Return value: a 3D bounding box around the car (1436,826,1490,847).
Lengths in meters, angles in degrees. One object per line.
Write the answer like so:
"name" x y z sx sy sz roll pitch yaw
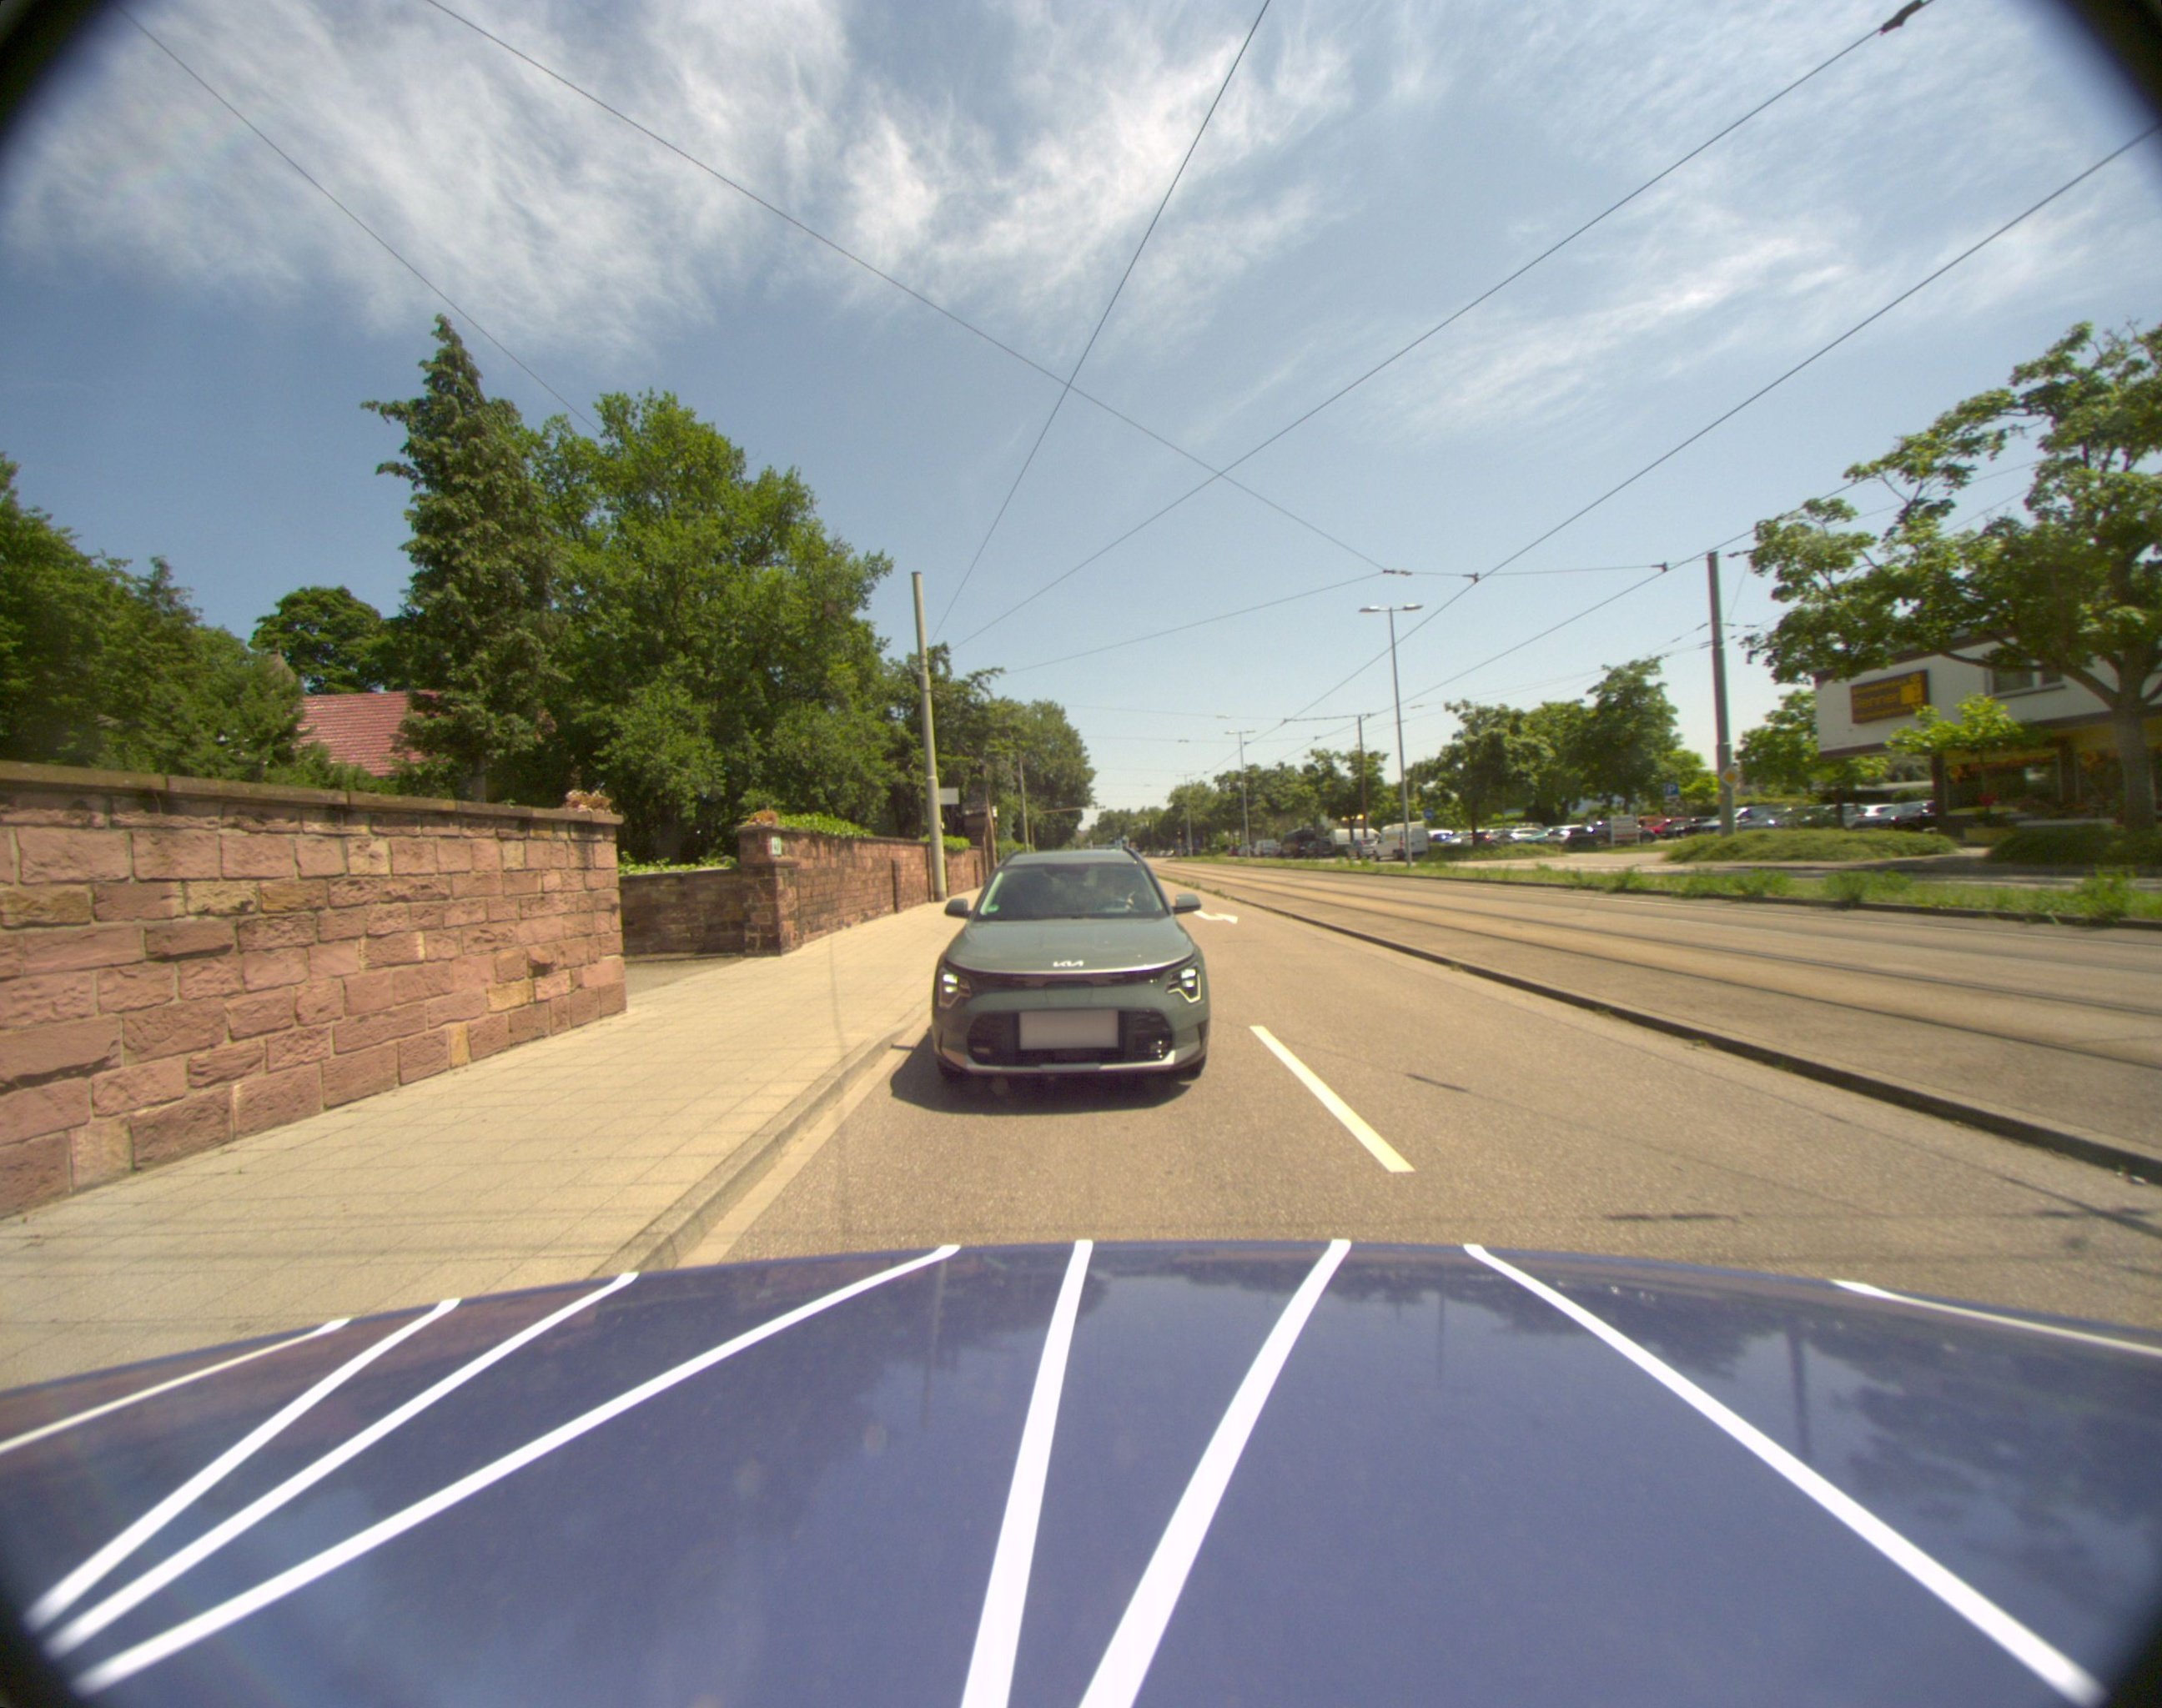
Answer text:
"car" 30.216 -1.380 60.094 3.414 1.386 1.603 -4 1 -5

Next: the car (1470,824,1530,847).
"car" 30.049 -1.311 54.562 3.414 1.386 1.603 -4 1 -5

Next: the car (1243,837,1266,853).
"car" 20.535 -1.055 89.953 1.681 1.783 4.202 -3 0 0

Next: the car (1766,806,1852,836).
"car" 42.641 -1.918 44.547 3.492 1.528 1.624 -4 1 -2

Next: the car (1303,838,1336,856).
"car" 20.076 -0.611 64.170 1.675 1.378 3.669 -3 0 2

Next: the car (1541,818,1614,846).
"car" 30.912 -1.340 47.353 3.414 1.482 1.793 -4 0 -5

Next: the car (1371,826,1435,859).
"car" 20.190 -0.710 47.832 1.998 1.872 4.661 -3 0 1

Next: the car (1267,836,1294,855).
"car" 20.636 -0.859 78.770 1.681 1.783 3.868 -3 0 0

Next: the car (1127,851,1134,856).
"car" 14.866 -0.203 226.977 1.737 1.469 4.000 -4 0 0

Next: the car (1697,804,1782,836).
"car" 42.959 -2.210 49.592 3.998 1.774 1.813 -4 1 -2

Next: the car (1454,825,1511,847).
"car" 30.472 -1.363 57.687 3.414 1.386 1.603 -4 1 -5

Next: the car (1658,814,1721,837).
"car" 43.839 -2.025 54.806 3.355 1.381 1.506 -4 1 -2

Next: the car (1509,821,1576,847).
"car" 30.276 -1.317 49.882 3.414 1.482 1.598 -4 1 -5

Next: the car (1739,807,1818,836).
"car" 43.265 -1.989 47.178 3.492 1.528 1.534 -4 1 -2

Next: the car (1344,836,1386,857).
"car" 20.211 -0.540 54.222 1.675 1.378 3.569 -3 0 2

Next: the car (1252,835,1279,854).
"car" 20.423 -1.052 84.232 1.681 1.963 4.509 -3 0 0

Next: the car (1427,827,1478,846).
"car" 30.742 -1.432 62.989 3.414 1.386 1.603 -4 1 -5

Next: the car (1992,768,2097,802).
"car" 61.220 -4.350 48.325 3.996 1.761 2.000 -3 1 2

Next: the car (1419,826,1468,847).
"car" 31.321 -1.502 65.635 3.414 1.497 1.603 -4 1 -5

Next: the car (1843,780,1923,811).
"car" 63.364 -4.608 60.081 3.996 2.002 2.000 -3 1 2

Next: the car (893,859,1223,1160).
"car" -0.098 0.889 6.350 1.789 1.561 4.184 -2 1 1

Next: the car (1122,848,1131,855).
"car" 11.146 -0.679 187.671 1.998 1.652 4.000 -3 0 0

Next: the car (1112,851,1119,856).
"car" 11.470 -0.084 255.078 1.998 1.652 4.000 -4 0 0

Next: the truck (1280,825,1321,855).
"truck" 20.236 -1.272 70.288 2.225 2.526 4.929 -3 0 1

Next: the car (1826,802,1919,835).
"car" 43.697 -1.957 41.973 3.492 1.528 1.624 -4 1 -2

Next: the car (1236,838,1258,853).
"car" 20.587 -1.052 94.462 1.681 1.783 4.202 -3 0 0

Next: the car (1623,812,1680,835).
"car" 44.847 -2.420 59.774 3.355 1.552 1.506 -4 1 -2

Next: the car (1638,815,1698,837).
"car" 44.190 -2.111 57.233 3.355 1.450 1.506 -4 1 -2

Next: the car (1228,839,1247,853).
"car" 20.817 -1.020 101.372 1.681 1.693 3.823 -3 0 0

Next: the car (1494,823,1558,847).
"car" 30.617 -1.307 52.302 3.414 1.386 1.603 -4 1 -5
